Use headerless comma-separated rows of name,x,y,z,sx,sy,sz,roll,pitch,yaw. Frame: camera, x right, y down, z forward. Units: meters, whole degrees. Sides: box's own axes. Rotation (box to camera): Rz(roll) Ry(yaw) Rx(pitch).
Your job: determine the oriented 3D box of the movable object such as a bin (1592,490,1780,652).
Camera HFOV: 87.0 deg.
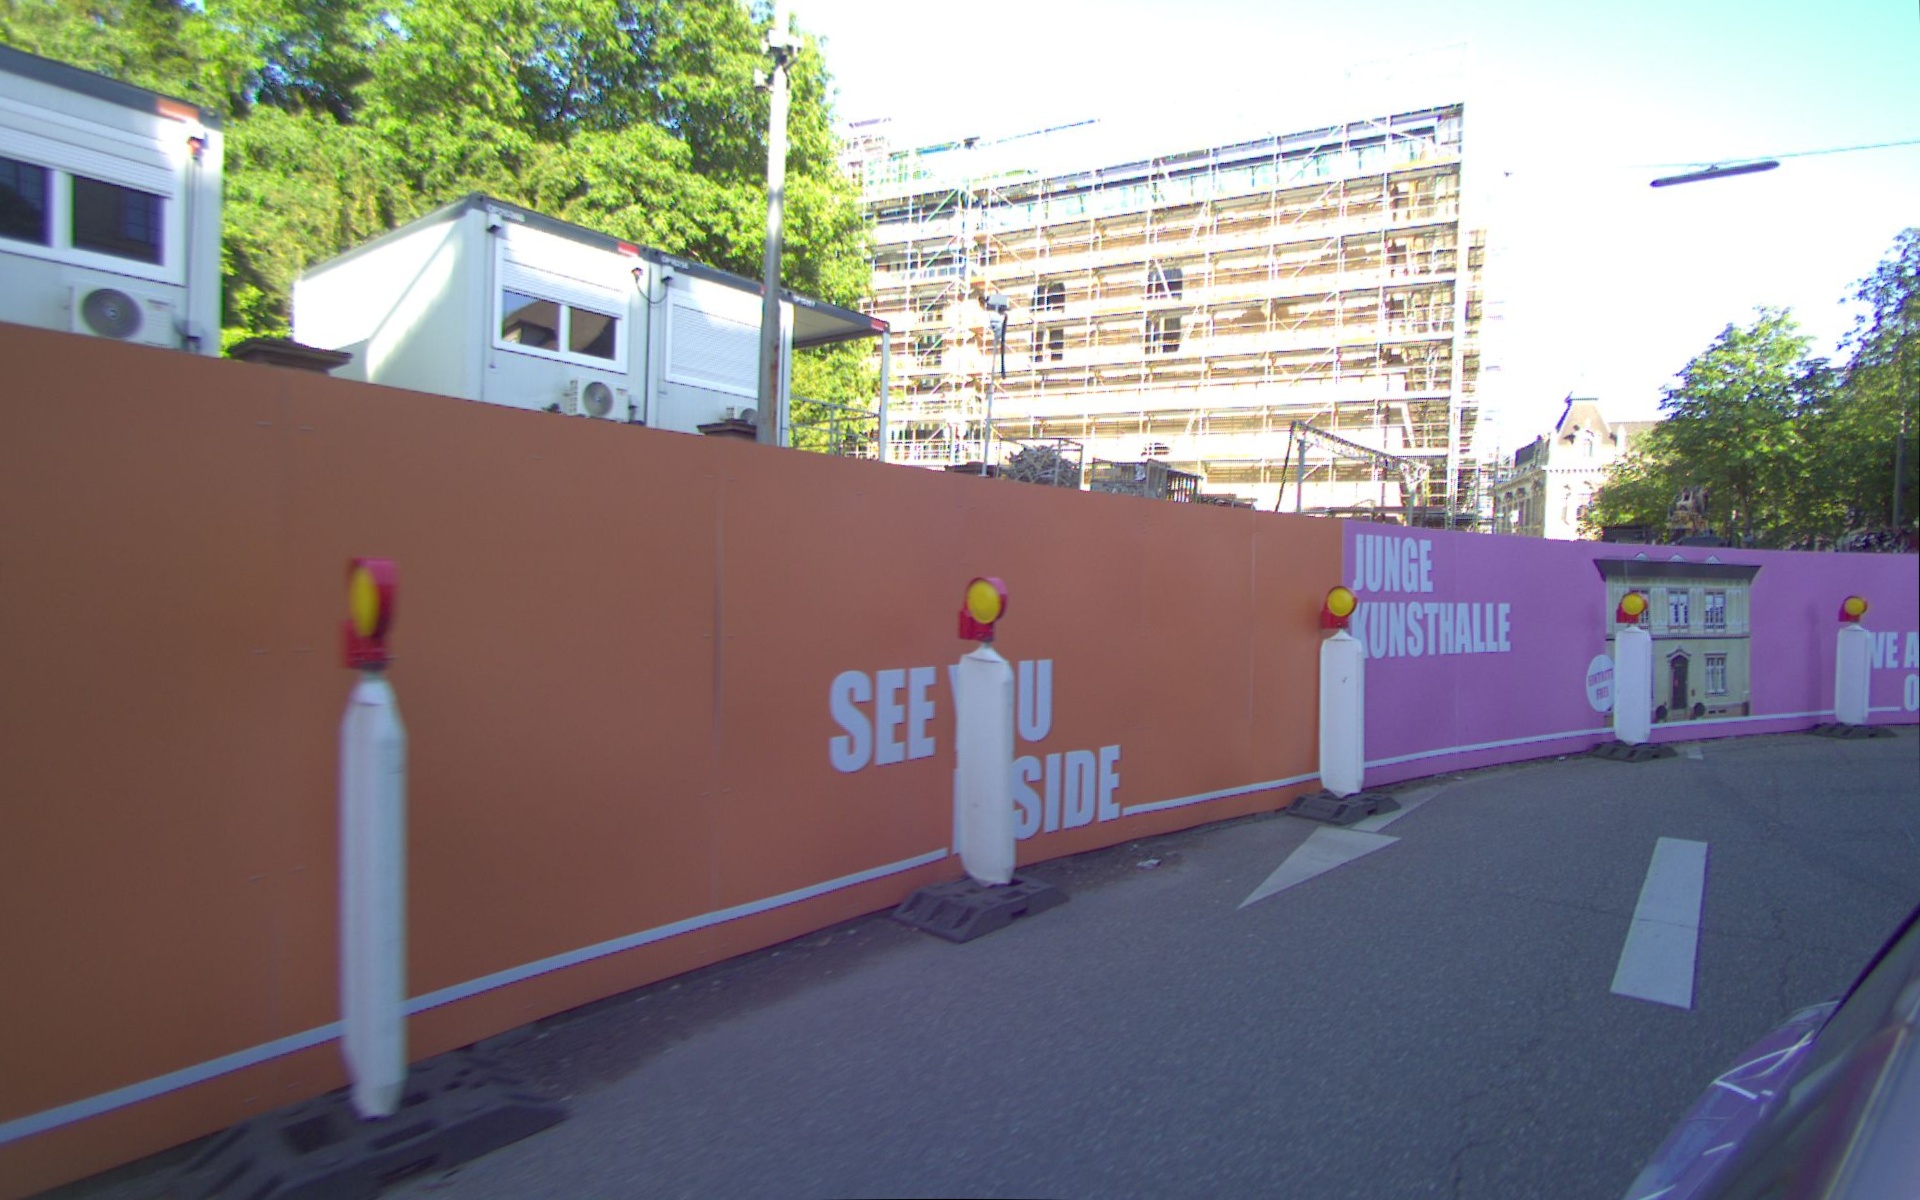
movable object such as a bin,16.963,-0.701,23.642,3.157,3.340,4.325,4,3,38
